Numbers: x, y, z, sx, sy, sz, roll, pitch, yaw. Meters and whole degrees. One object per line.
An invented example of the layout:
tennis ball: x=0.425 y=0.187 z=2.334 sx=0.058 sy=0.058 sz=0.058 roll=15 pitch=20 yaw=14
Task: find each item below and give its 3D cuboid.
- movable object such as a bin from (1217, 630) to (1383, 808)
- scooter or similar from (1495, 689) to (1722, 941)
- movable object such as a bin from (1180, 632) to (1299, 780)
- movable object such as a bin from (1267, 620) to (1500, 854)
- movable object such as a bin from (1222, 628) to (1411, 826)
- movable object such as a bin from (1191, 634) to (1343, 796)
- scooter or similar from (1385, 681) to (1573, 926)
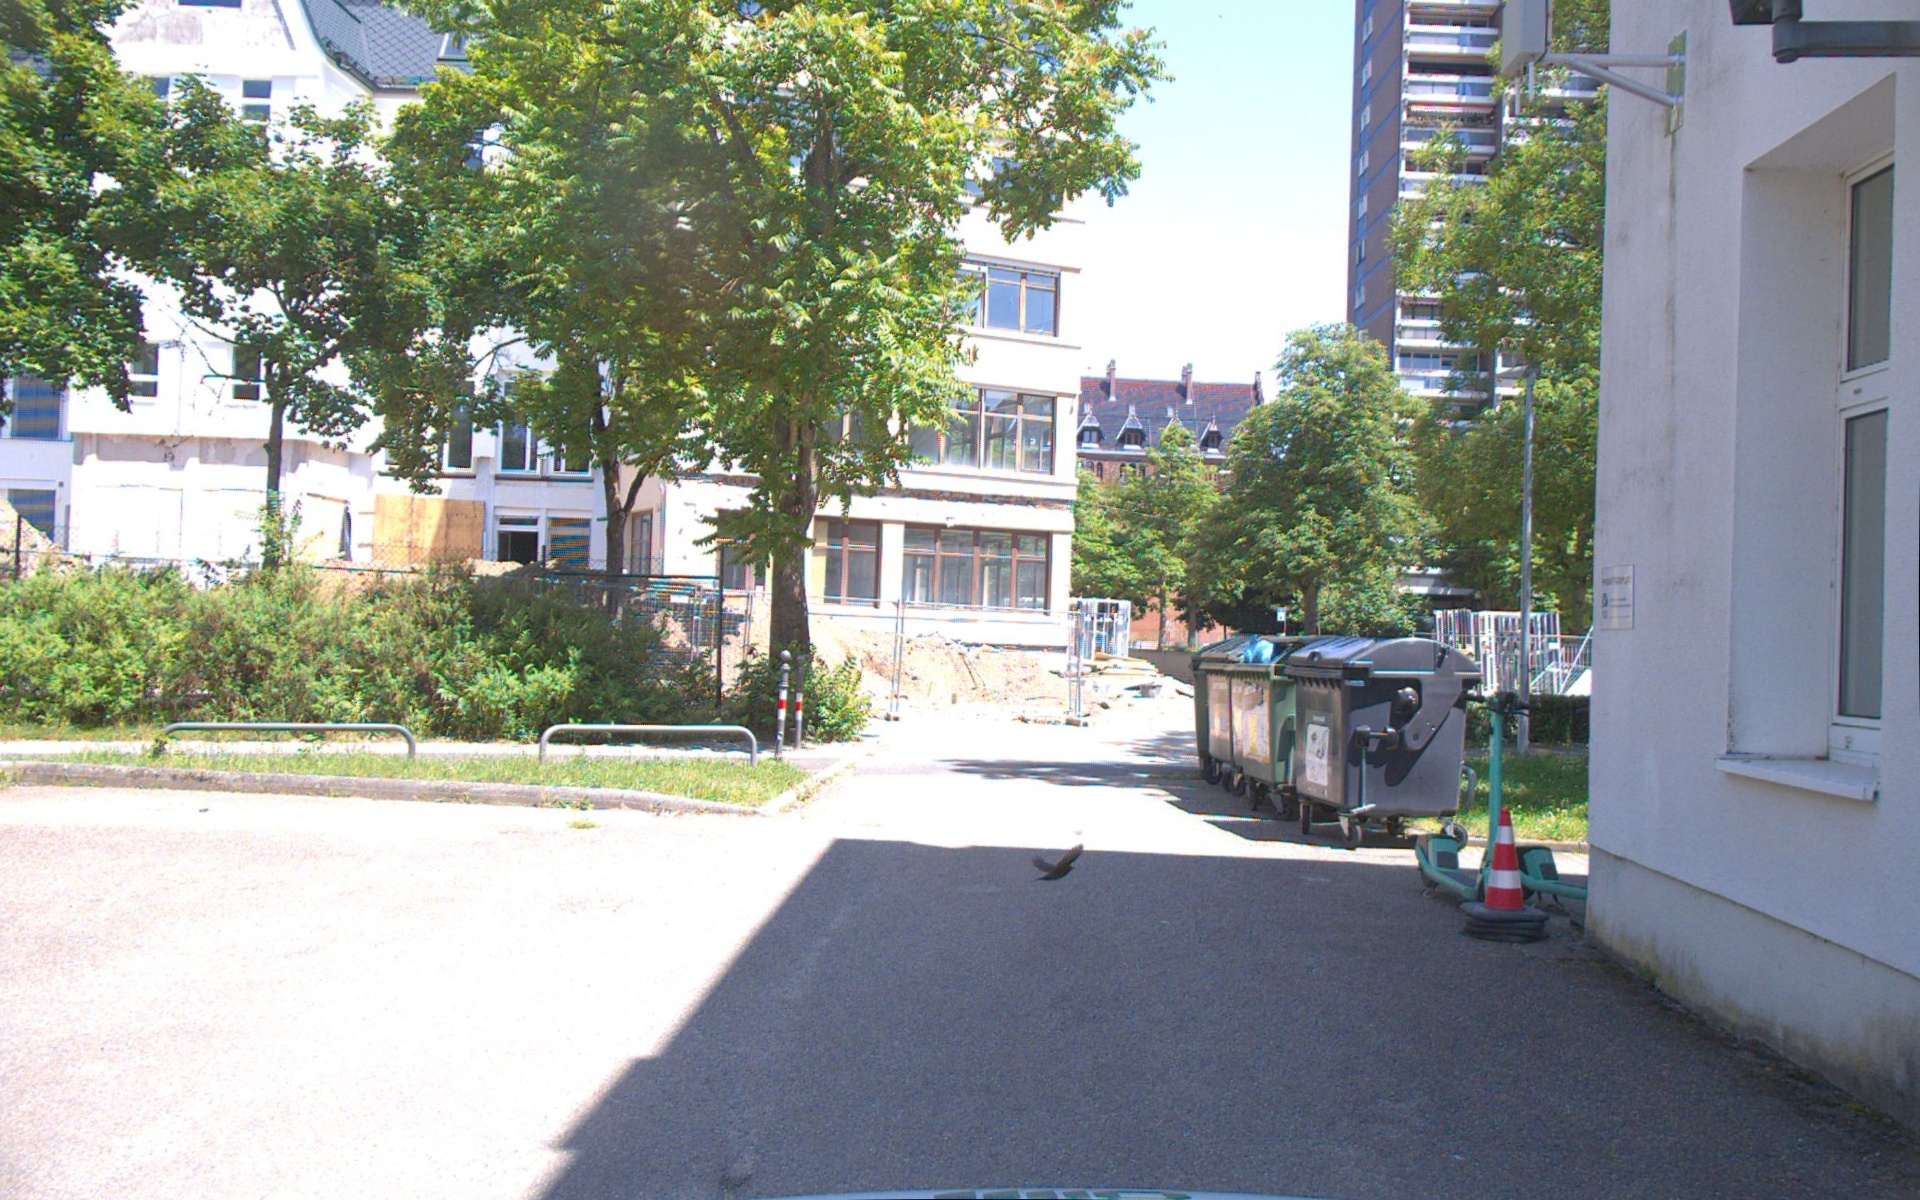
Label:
movable object such as a bin: x=3.051 y=1.055 z=15.007 sx=1.155 sy=1.495 sz=1.311 roll=3 pitch=-2 yaw=-2
scooter or similar: x=3.439 y=1.105 z=8.859 sx=0.456 sy=1.194 sz=1.251 roll=2 pitch=-2 yaw=-15
movable object such as a bin: x=3.057 y=1.133 z=17.988 sx=1.154 sy=1.495 sz=1.334 roll=2 pitch=-2 yaw=13
movable object such as a bin: x=2.998 y=0.950 z=11.889 sx=1.133 sy=1.532 sz=1.460 roll=3 pitch=-2 yaw=-7
movable object such as a bin: x=2.907 y=1.019 z=13.626 sx=1.156 sy=1.495 sz=1.310 roll=3 pitch=-2 yaw=-4
movable object such as a bin: x=3.024 y=1.117 z=16.448 sx=1.155 sy=1.495 sz=1.310 roll=3 pitch=-2 yaw=-4
scooter or similar: x=2.826 y=1.074 z=9.119 sx=0.455 sy=1.194 sz=1.355 roll=2 pitch=-1 yaw=-6
